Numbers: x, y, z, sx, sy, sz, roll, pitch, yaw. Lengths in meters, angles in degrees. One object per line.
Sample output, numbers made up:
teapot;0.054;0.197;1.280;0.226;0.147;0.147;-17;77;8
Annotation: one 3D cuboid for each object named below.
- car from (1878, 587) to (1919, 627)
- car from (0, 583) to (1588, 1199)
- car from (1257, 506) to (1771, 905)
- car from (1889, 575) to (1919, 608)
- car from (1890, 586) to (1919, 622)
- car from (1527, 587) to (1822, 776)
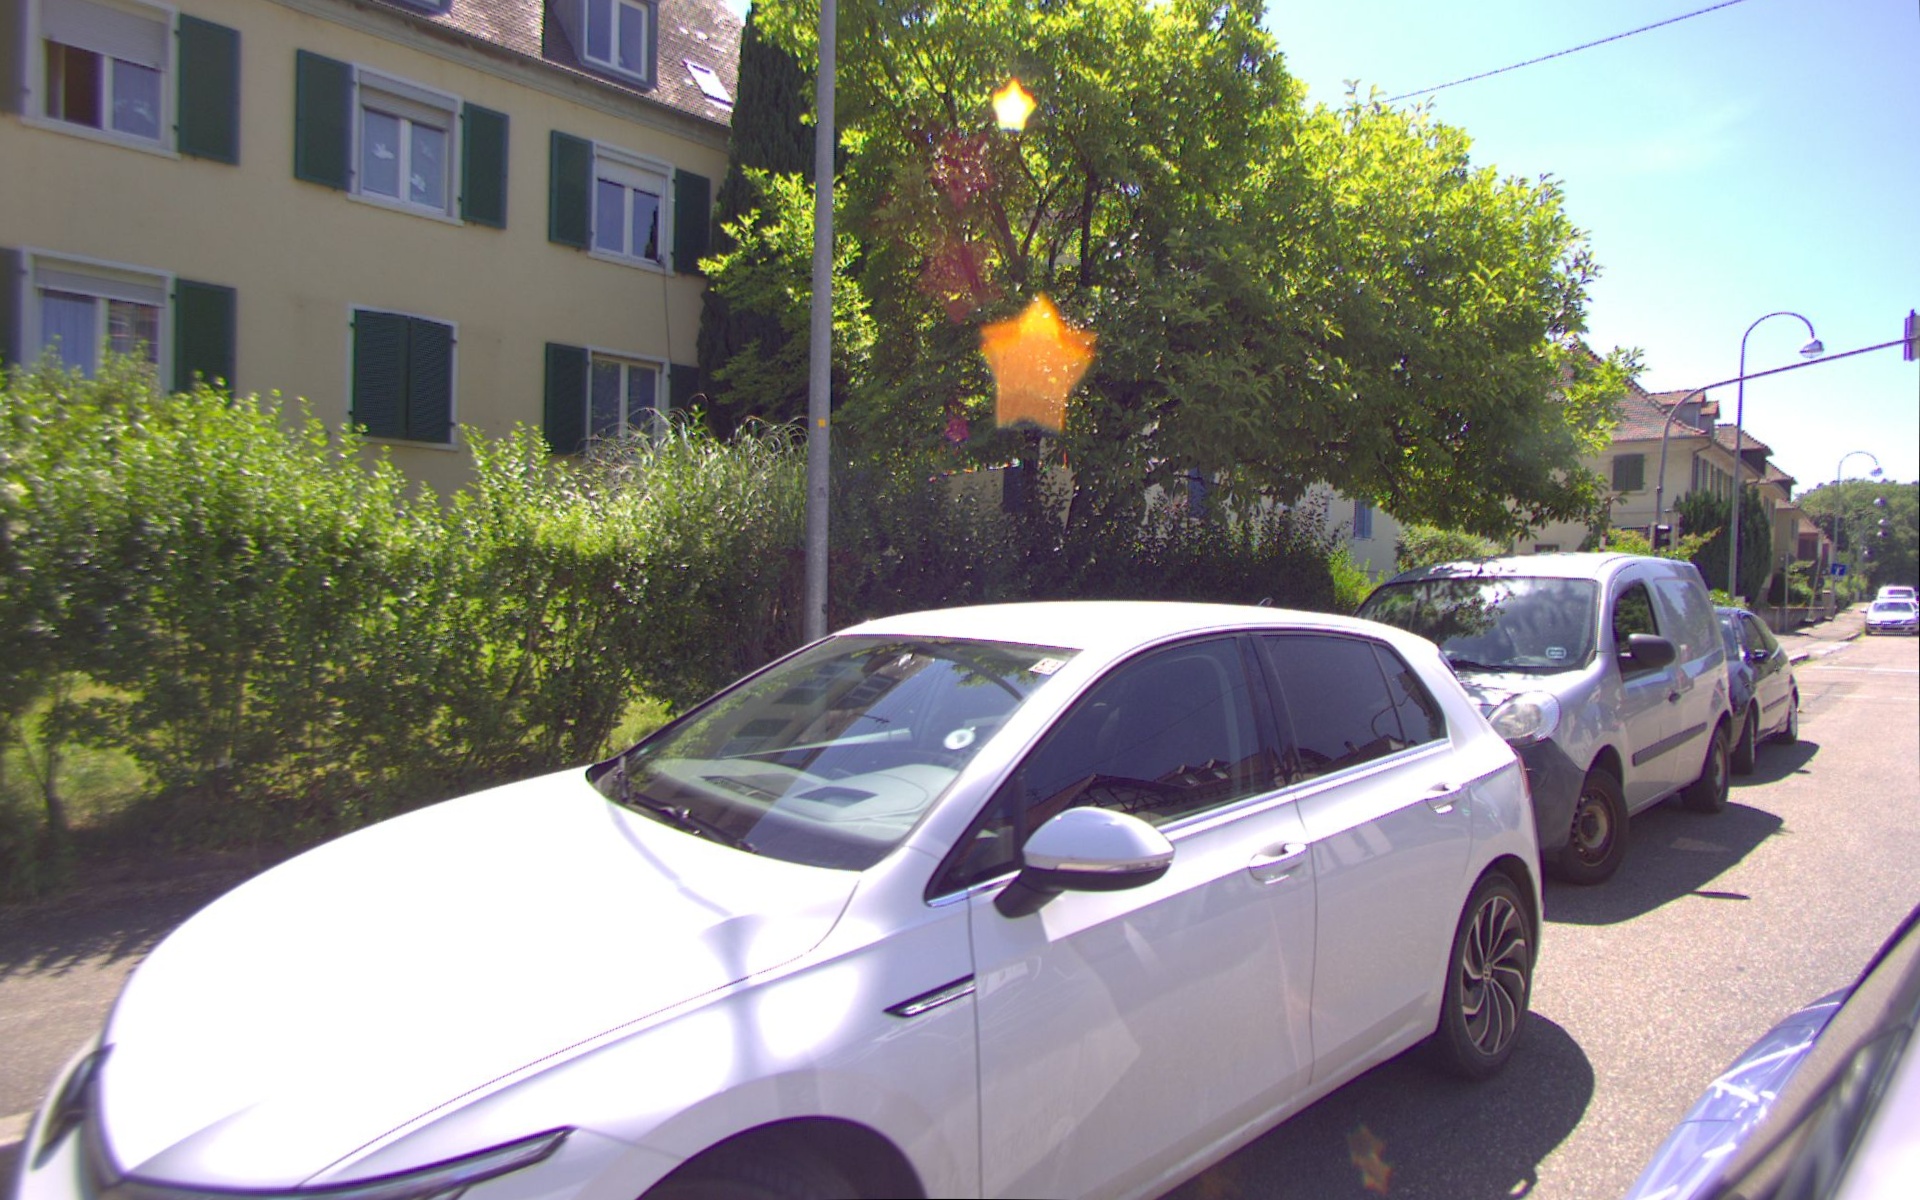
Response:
car;37.904;0.261;40.557;1.666;1.484;3.939;0;1;42
car;0.073;0.705;2.844;4.055;1.454;1.665;-1;-1;-40
car;3.826;0.474;6.648;4.130;1.826;1.664;-1;-1;-42
car;57.274;-0.517;60.983;1.847;1.892;4.618;1;1;43
car;41.596;0.159;44.014;1.666;1.453;3.939;0;1;43
car;7.096;0.635;9.891;3.950;1.482;1.630;-1;-1;-44
